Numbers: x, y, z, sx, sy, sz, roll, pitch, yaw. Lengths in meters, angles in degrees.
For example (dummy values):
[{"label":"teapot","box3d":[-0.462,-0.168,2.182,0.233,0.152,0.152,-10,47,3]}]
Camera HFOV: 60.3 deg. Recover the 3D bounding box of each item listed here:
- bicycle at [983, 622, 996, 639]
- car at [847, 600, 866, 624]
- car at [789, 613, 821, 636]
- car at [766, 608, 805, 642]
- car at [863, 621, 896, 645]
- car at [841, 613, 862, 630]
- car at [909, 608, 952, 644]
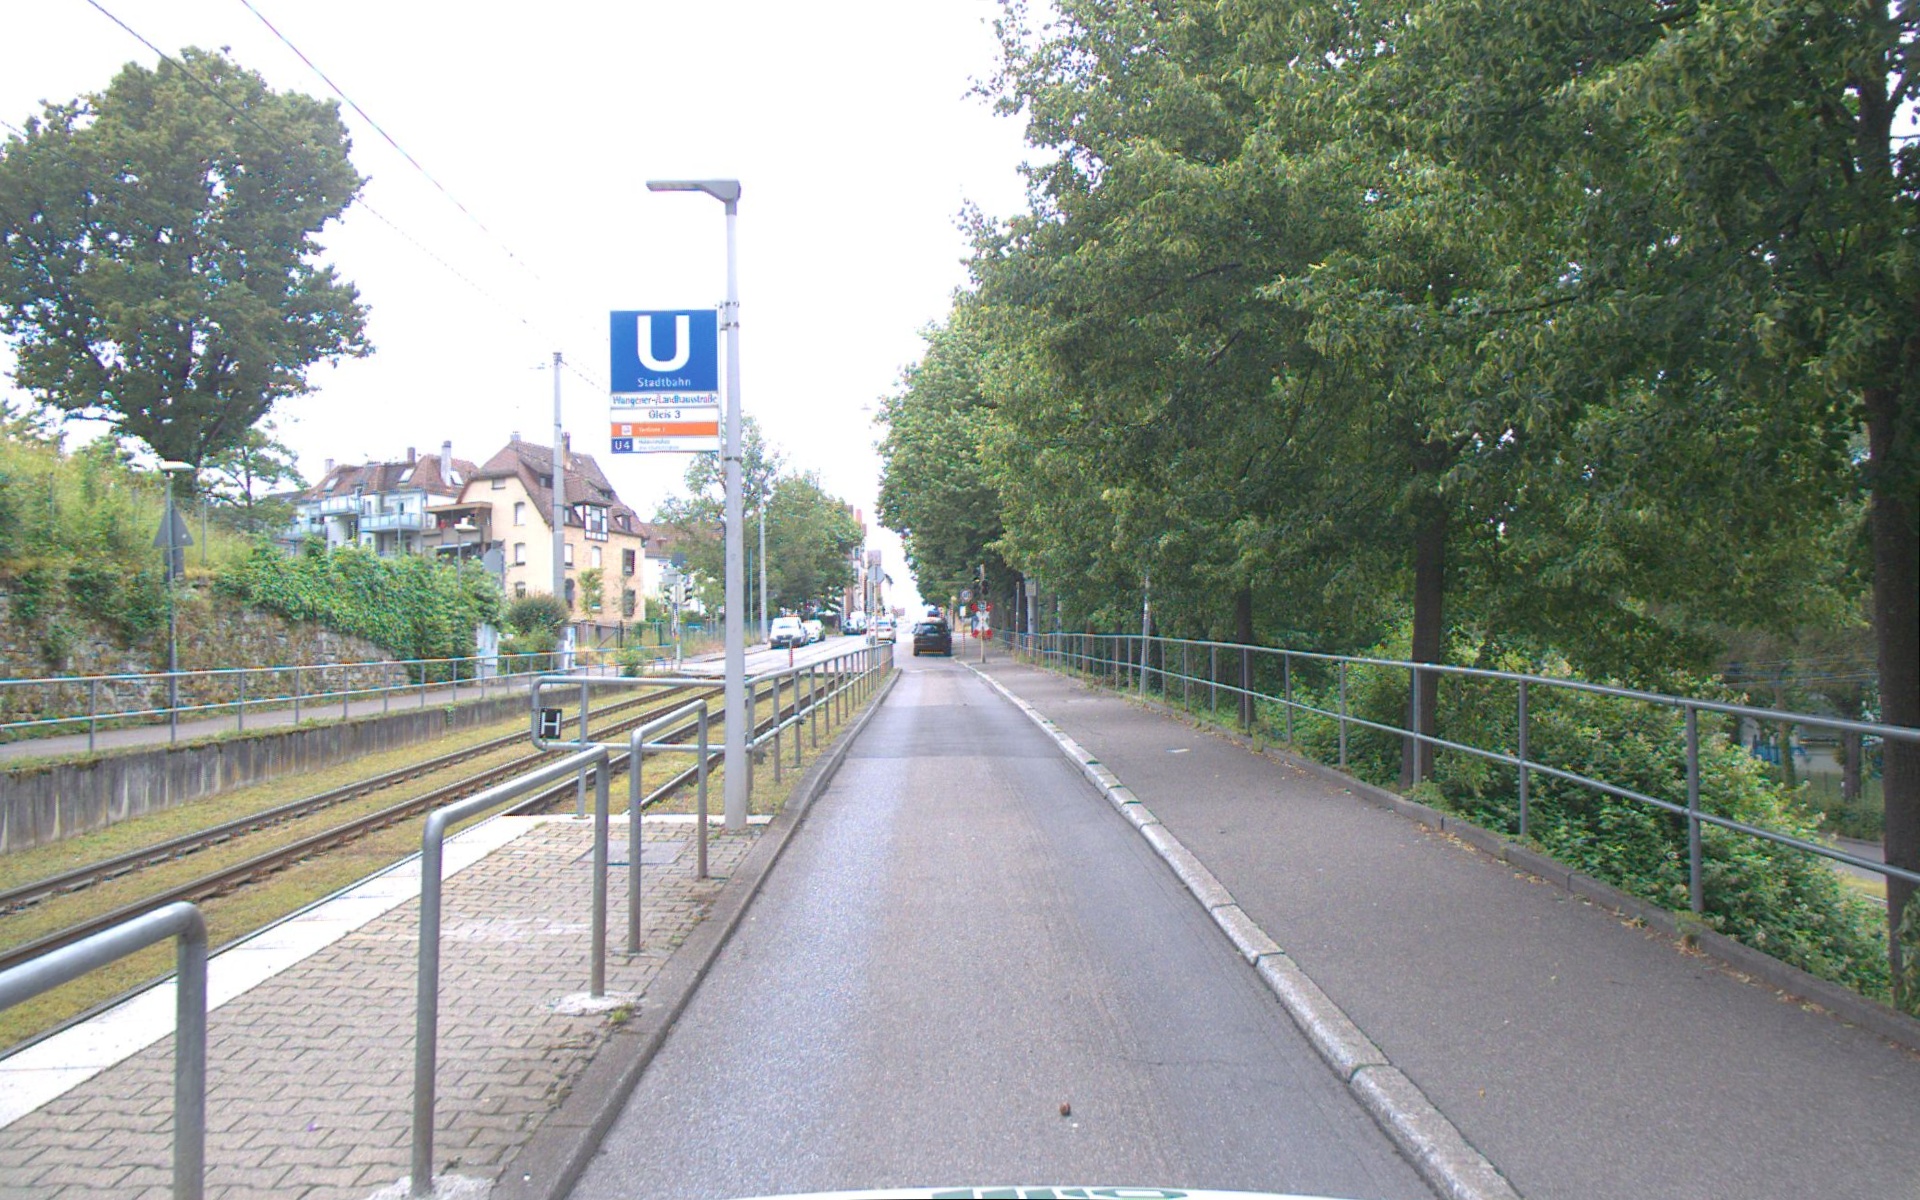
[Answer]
[{"label":"bicycle","box3d":[1.711,1.790,96.777,0.419,0.993,1.790,0,-1,-11]},{"label":"car","box3d":[-12.373,1.510,198.636,2.186,2.813,5.795,0,-1,-3]},{"label":"car","box3d":[-11.029,1.714,117.641,1.847,1.552,4.662,-2,-1,-1]},{"label":"car","box3d":[-10.864,1.564,103.453,1.995,1.914,4.882,-3,-1,-2]},{"label":"car","box3d":[-5.161,2.123,106.185,1.953,1.525,4.310,1,-1,-1]},{"label":"car","box3d":[-12.082,2.418,184.129,1.952,1.840,4.000,0,-1,0]},{"label":"car","box3d":[-1.362,1.208,78.112,1.865,1.643,4.600,0,0,0]}]
